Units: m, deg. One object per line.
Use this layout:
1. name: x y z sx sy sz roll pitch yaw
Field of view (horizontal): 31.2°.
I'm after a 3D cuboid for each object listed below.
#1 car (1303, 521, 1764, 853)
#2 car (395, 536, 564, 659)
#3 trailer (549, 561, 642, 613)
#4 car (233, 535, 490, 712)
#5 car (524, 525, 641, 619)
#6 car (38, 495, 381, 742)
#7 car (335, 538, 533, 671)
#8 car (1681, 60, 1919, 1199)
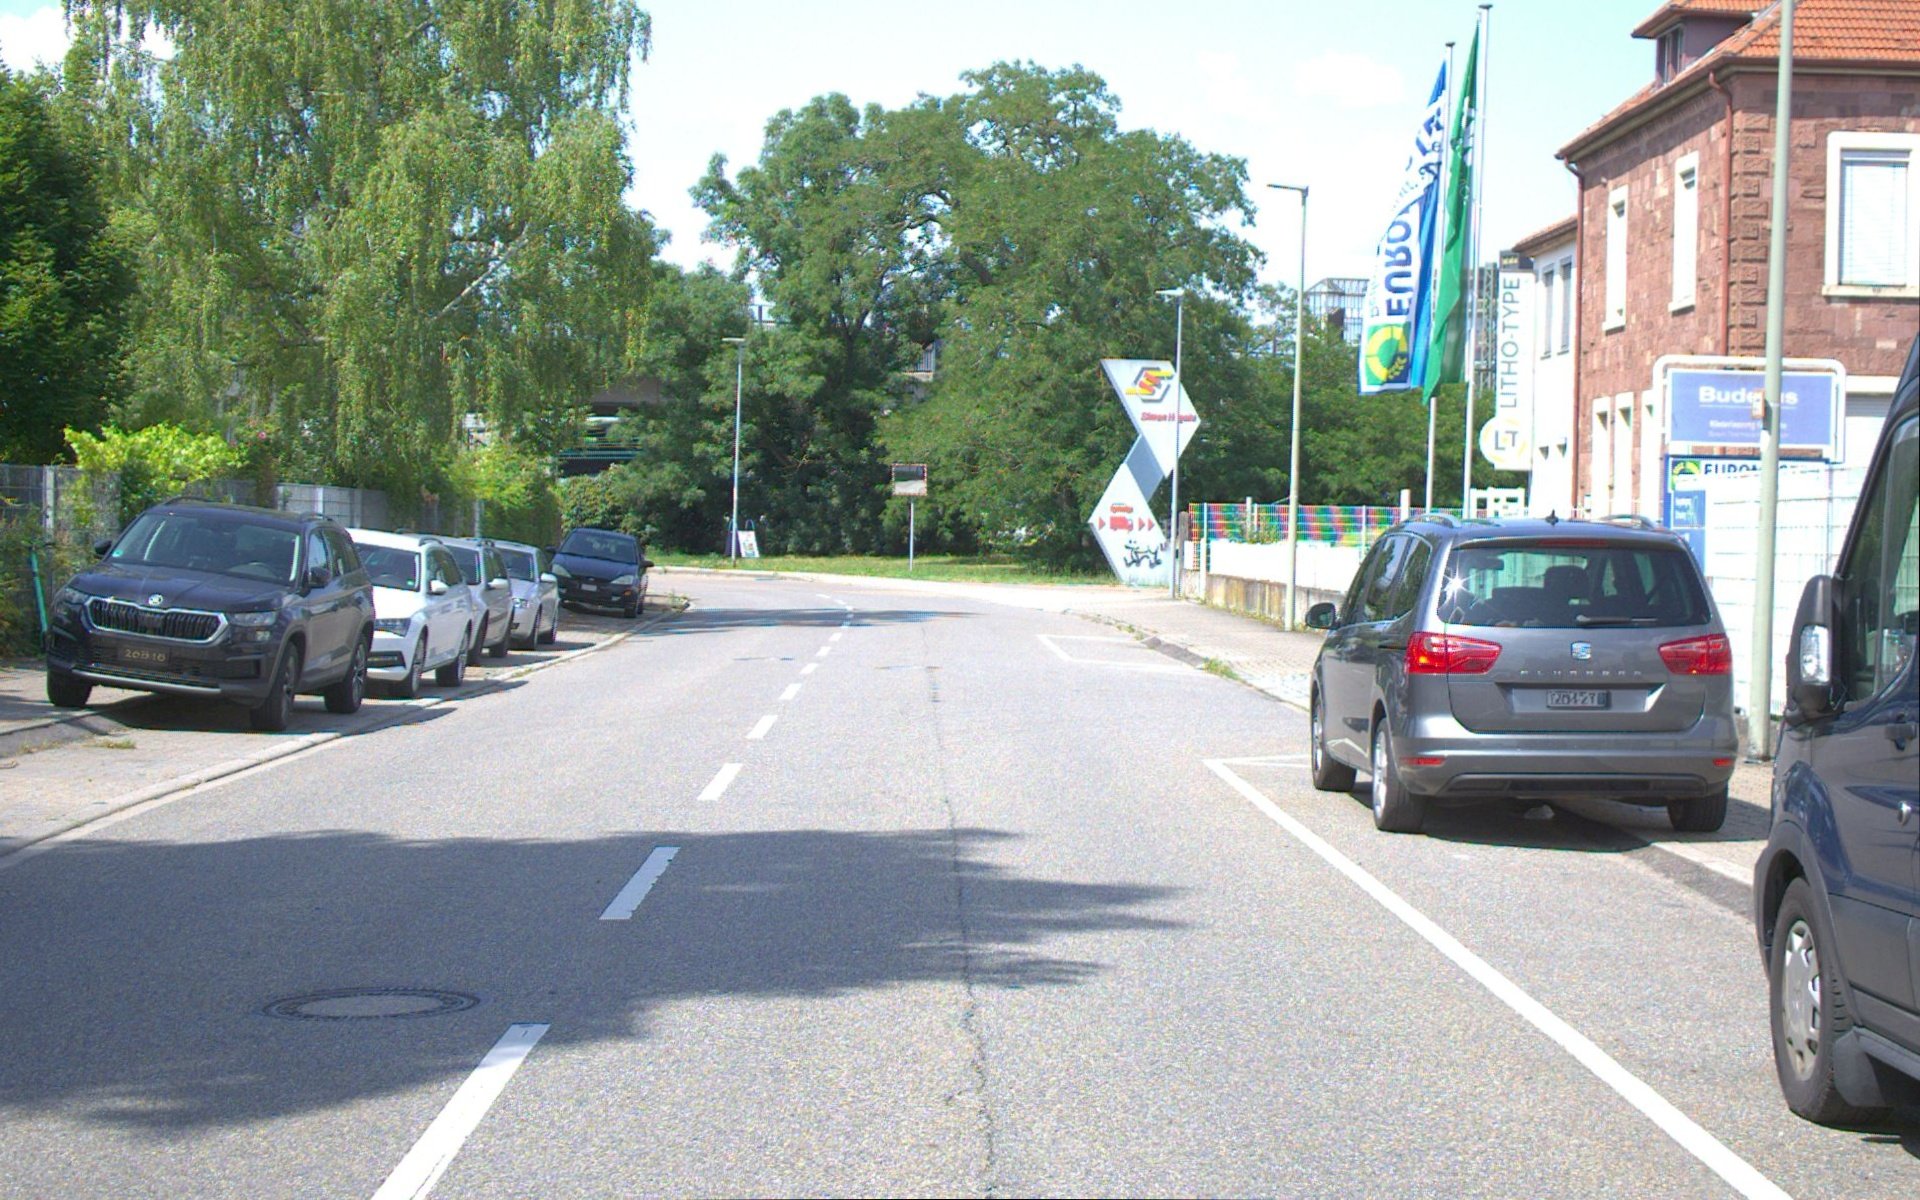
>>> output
1. car: 3.115 0.390 19.590 1.825 1.659 4.556 1 1 0
2. car: -6.688 -0.076 48.249 1.724 1.472 4.632 5 1 -2
3. trailer: -7.051 -0.268 66.641 1.464 0.848 2.467 6 1 0
4. car: -5.836 0.171 34.030 1.700 1.589 4.788 1 1 0
5. car: -6.841 -0.516 62.622 1.682 1.507 4.158 5 0 -2
6. car: -5.929 0.088 27.692 1.610 1.739 4.636 3 1 1
7. car: -6.499 0.009 42.908 1.794 1.522 4.659 1 1 -1
8. car: 3.255 0.109 7.472 1.937 2.739 6.155 1 1 -1
